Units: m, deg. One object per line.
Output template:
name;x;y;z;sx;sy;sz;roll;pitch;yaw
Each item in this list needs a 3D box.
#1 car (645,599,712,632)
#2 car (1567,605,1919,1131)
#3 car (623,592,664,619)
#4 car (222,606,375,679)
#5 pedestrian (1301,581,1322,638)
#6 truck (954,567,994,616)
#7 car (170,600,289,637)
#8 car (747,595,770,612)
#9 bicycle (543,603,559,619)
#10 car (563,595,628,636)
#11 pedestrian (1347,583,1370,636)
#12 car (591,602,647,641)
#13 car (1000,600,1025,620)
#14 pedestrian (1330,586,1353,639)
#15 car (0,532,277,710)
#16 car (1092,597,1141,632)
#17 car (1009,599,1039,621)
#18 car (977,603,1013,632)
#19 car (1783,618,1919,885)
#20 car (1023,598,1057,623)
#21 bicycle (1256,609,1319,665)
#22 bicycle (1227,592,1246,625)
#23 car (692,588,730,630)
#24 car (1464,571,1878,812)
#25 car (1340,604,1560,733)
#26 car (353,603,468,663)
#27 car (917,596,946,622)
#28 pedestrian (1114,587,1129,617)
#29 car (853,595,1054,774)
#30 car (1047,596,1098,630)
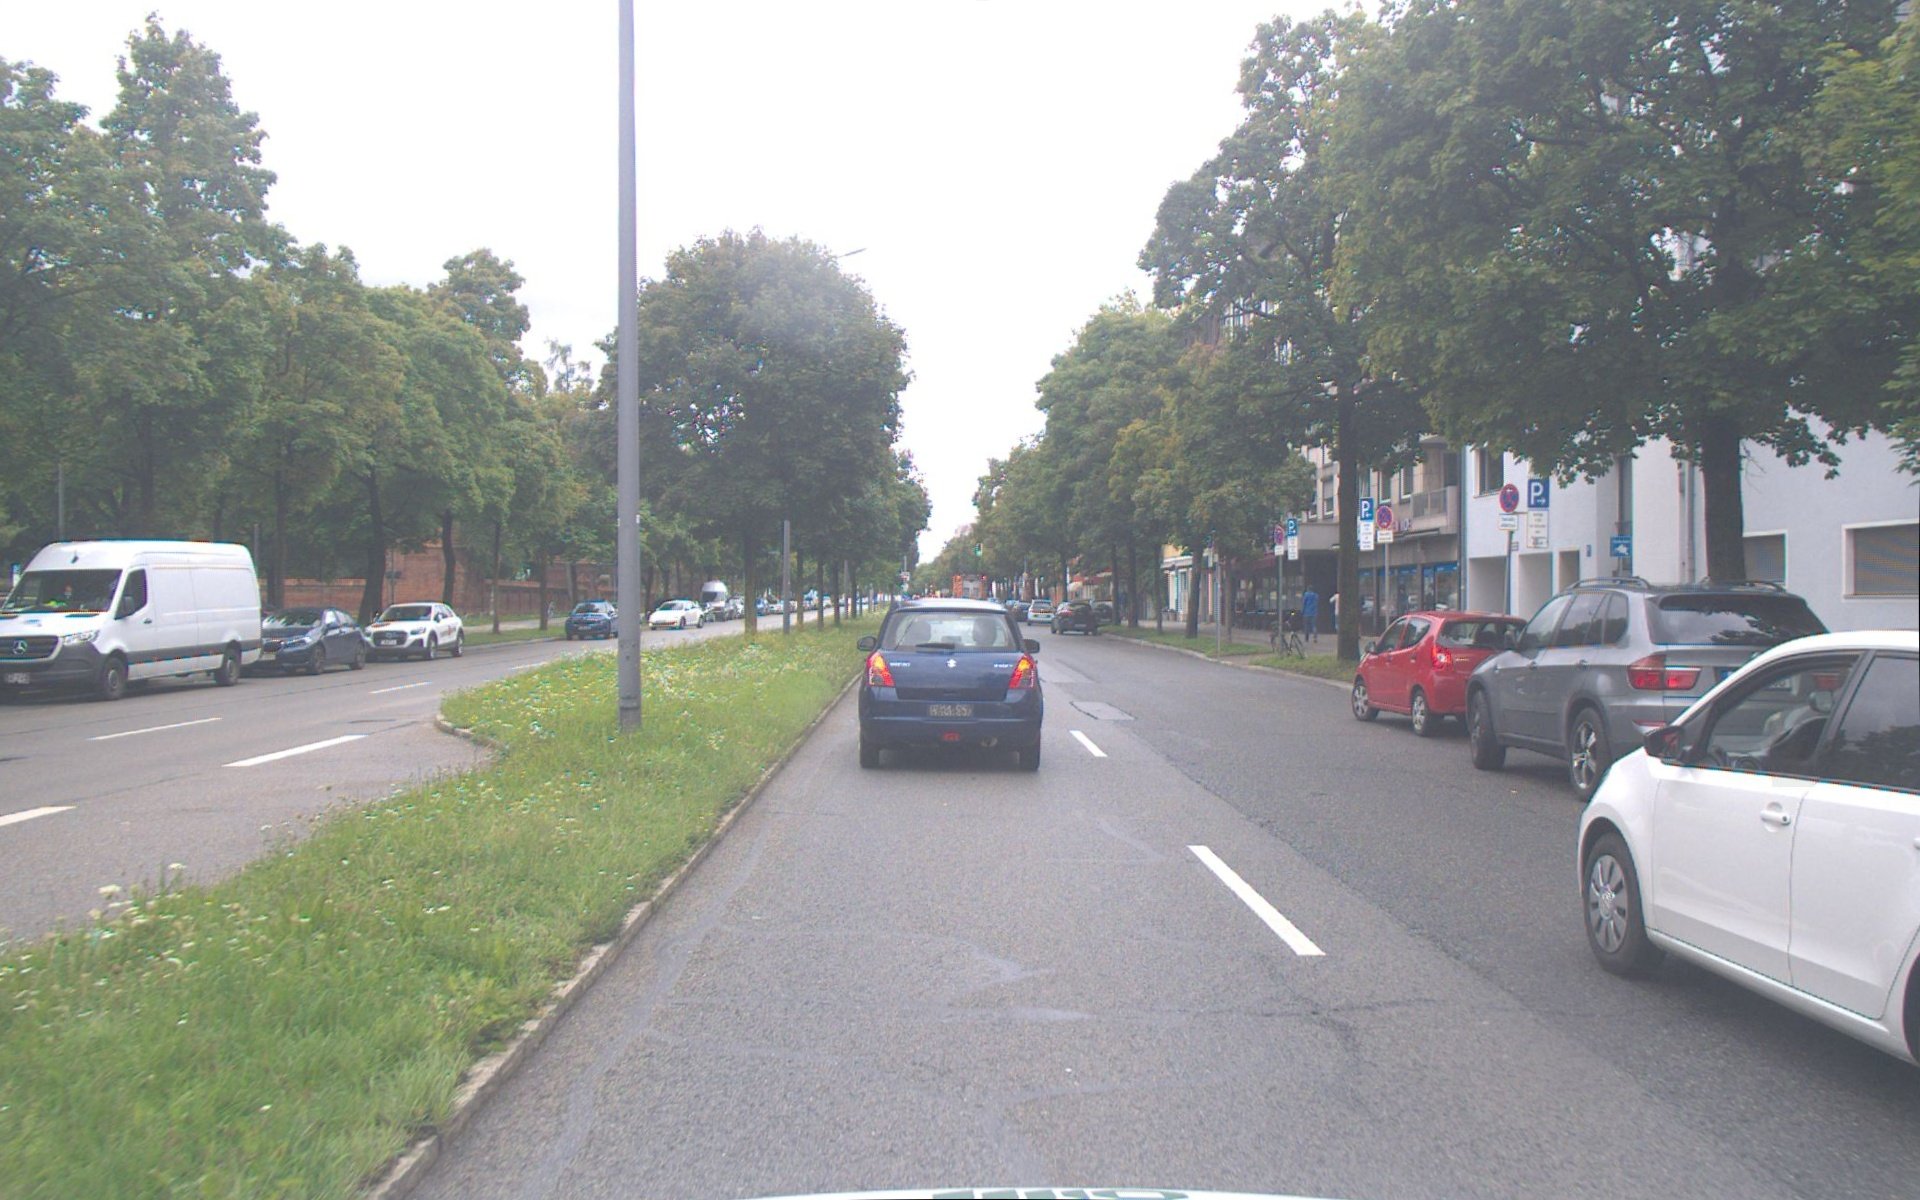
car;-14.967;0.818;88.102;1.724;1.564;4.317;-3;0;17
car;3.581;0.785;5.619;1.653;1.516;3.433;0;0;-3
car;-18.918;0.345;99.074;1.777;1.563;4.296;1;0;-2
car;-14.561;0.928;36.654;1.820;1.517;4.250;0;-1;-2
pedestrian;11.066;0.300;52.062;0.489;1.763;0.732;0;0;-1
truck;1.003;-0.664;131.790;2.979;3.619;13.673;0;0;0
car;-28.744;0.715;65.191;3.896;1.416;1.759;0;0;-1
car;-18.523;0.337;152.351;1.672;1.561;3.999;0;0;-1
bicycle;-24.726;0.688;100.030;0.642;0.953;1.618;0;0;-4
car;-14.823;0.605;67.435;1.849;1.564;4.312;-3;0;-3
pedestrian;12.625;0.312;52.422;0.530;1.669;0.724;0;0;-1
car;-15.023;0.930;73.121;1.605;1.564;4.313;-3;0;-1
car;3.984;0.724;125.963;1.621;1.477;3.997;0;0;-3
pedestrian;12.056;0.386;52.239;0.537;1.658;0.641;-2;0;-1
car;-14.462;0.299;28.961;2.096;2.690;7.104;-1;0;-1
car;7.720;0.686;81.925;1.953;1.671;4.332;0;0;-1
car;4.453;0.708;115.534;1.621;1.477;4.705;0;0;-3
car;1.919;0.967;92.929;1.785;1.503;4.689;2;0;-1
car;6.547;0.901;9.371;1.792;1.549;3.769;0;0;-2
car;4.742;0.634;99.021;1.621;1.477;3.997;0;0;-3
bicycle;7.728;0.848;39.085;0.447;1.278;2.138;0;0;-19
bicycle;12.607;0.367;75.406;0.568;1.489;1.688;0;0;-1
car;-18.162;0.649;120.889;2.142;3.005;6.187;1;0;-4
car;5.928;0.671;14.456;1.791;1.776;4.509;0;0;2
car;6.102;0.796;21.045;1.490;1.466;3.998;0;0;-2
car;-14.637;0.870;44.291;1.820;1.517;4.140;0;-1;-2
car;-1.747;0.541;100.601;1.684;1.527;4.299;0;0;-1
pedestrian;10.147;0.123;104.191;0.776;1.888;0.776;-2;0;-4
car;-0.065;0.717;16.167;1.717;1.531;4.000;0;0;0
car;5.037;0.582;74.483;1.953;1.477;3.999;0;0;-1
